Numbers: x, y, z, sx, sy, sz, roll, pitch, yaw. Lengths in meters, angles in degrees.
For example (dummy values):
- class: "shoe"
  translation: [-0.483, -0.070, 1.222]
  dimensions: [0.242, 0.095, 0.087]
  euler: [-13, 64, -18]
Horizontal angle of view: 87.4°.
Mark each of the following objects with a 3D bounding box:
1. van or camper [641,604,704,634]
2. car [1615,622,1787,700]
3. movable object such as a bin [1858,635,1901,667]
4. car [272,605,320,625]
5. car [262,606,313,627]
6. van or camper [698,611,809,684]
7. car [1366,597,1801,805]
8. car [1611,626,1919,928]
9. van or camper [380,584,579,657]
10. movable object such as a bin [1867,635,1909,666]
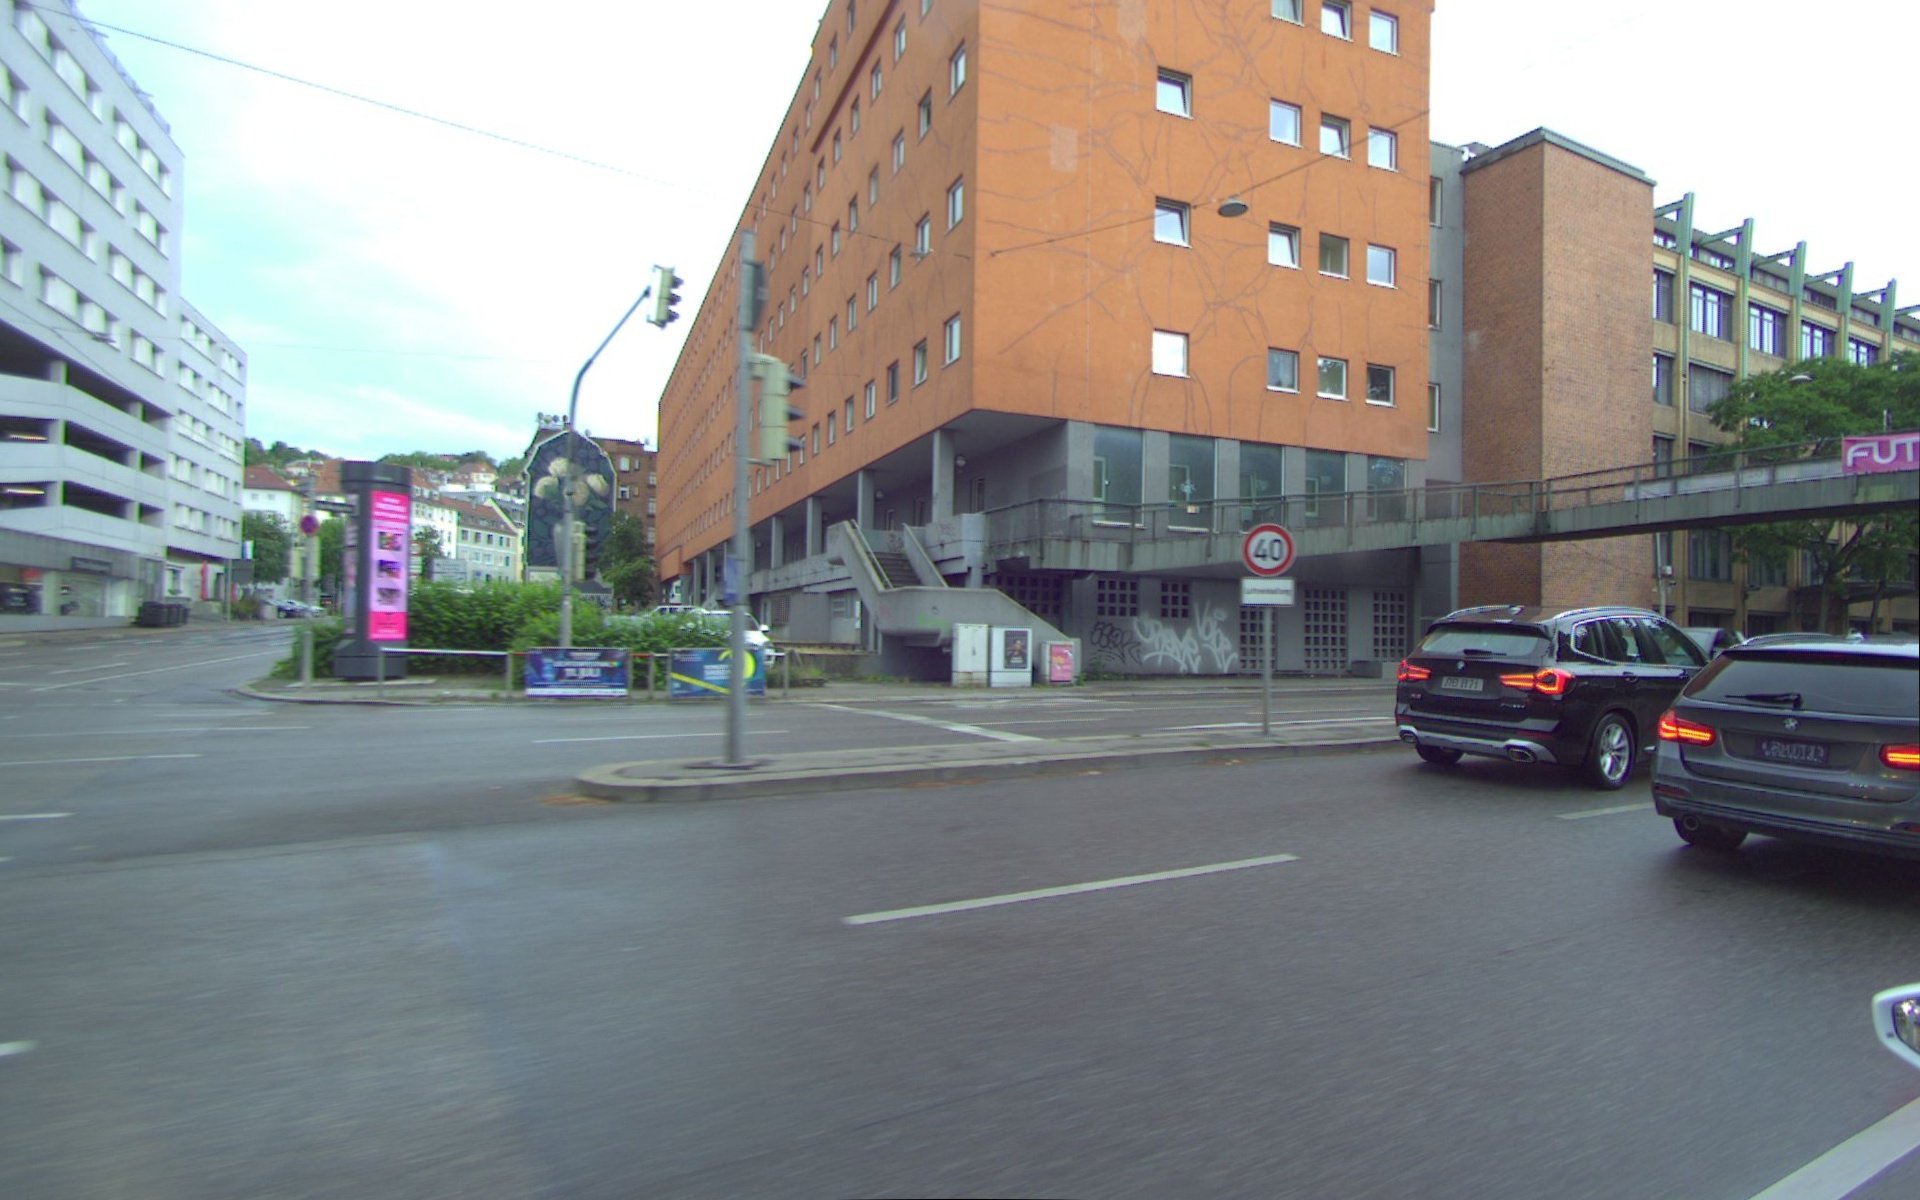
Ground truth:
- class: "van or camper"
  translation: [-21.920, 1.440, 76.590]
  dimensions: [4.314, 2.004, 1.963]
  euler: [2, 1, -23]
- class: "car"
  translation: [15.719, 1.285, 21.297]
  dimensions: [3.667, 1.519, 1.594]
  euler: [2, -3, -30]
- class: "movable object such as a bin"
  translation: [46.092, 2.527, 50.360]
  dimensions: [1.257, 1.538, 1.277]
  euler: [2, -1, -29]
- class: "car"
  translation: [-63.977, 1.424, 96.829]
  dimensions: [3.683, 1.885, 1.829]
  euler: [2, -1, -30]
- class: "car"
  translation: [-62.022, 1.535, 92.682]
  dimensions: [3.683, 1.885, 1.829]
  euler: [2, -1, -30]
- class: "van or camper"
  translation: [-5.228, 1.116, 25.053]
  dimensions: [1.888, 1.649, 3.977]
  euler: [2, -1, -24]
- class: "car"
  translation: [6.404, 0.915, 10.226]
  dimensions: [4.390, 1.678, 1.801]
  euler: [2, 1, -29]
- class: "car"
  translation: [6.418, 0.963, 6.575]
  dimensions: [4.423, 1.477, 1.769]
  euler: [2, -1, -29]
- class: "van or camper"
  translation: [-14.884, 0.649, 31.420]
  dimensions: [5.378, 2.004, 2.120]
  euler: [2, 1, -24]
- class: "movable object such as a bin"
  translation: [47.310, 2.552, 51.206]
  dimensions: [1.200, 1.538, 1.293]
  euler: [2, -1, -29]
